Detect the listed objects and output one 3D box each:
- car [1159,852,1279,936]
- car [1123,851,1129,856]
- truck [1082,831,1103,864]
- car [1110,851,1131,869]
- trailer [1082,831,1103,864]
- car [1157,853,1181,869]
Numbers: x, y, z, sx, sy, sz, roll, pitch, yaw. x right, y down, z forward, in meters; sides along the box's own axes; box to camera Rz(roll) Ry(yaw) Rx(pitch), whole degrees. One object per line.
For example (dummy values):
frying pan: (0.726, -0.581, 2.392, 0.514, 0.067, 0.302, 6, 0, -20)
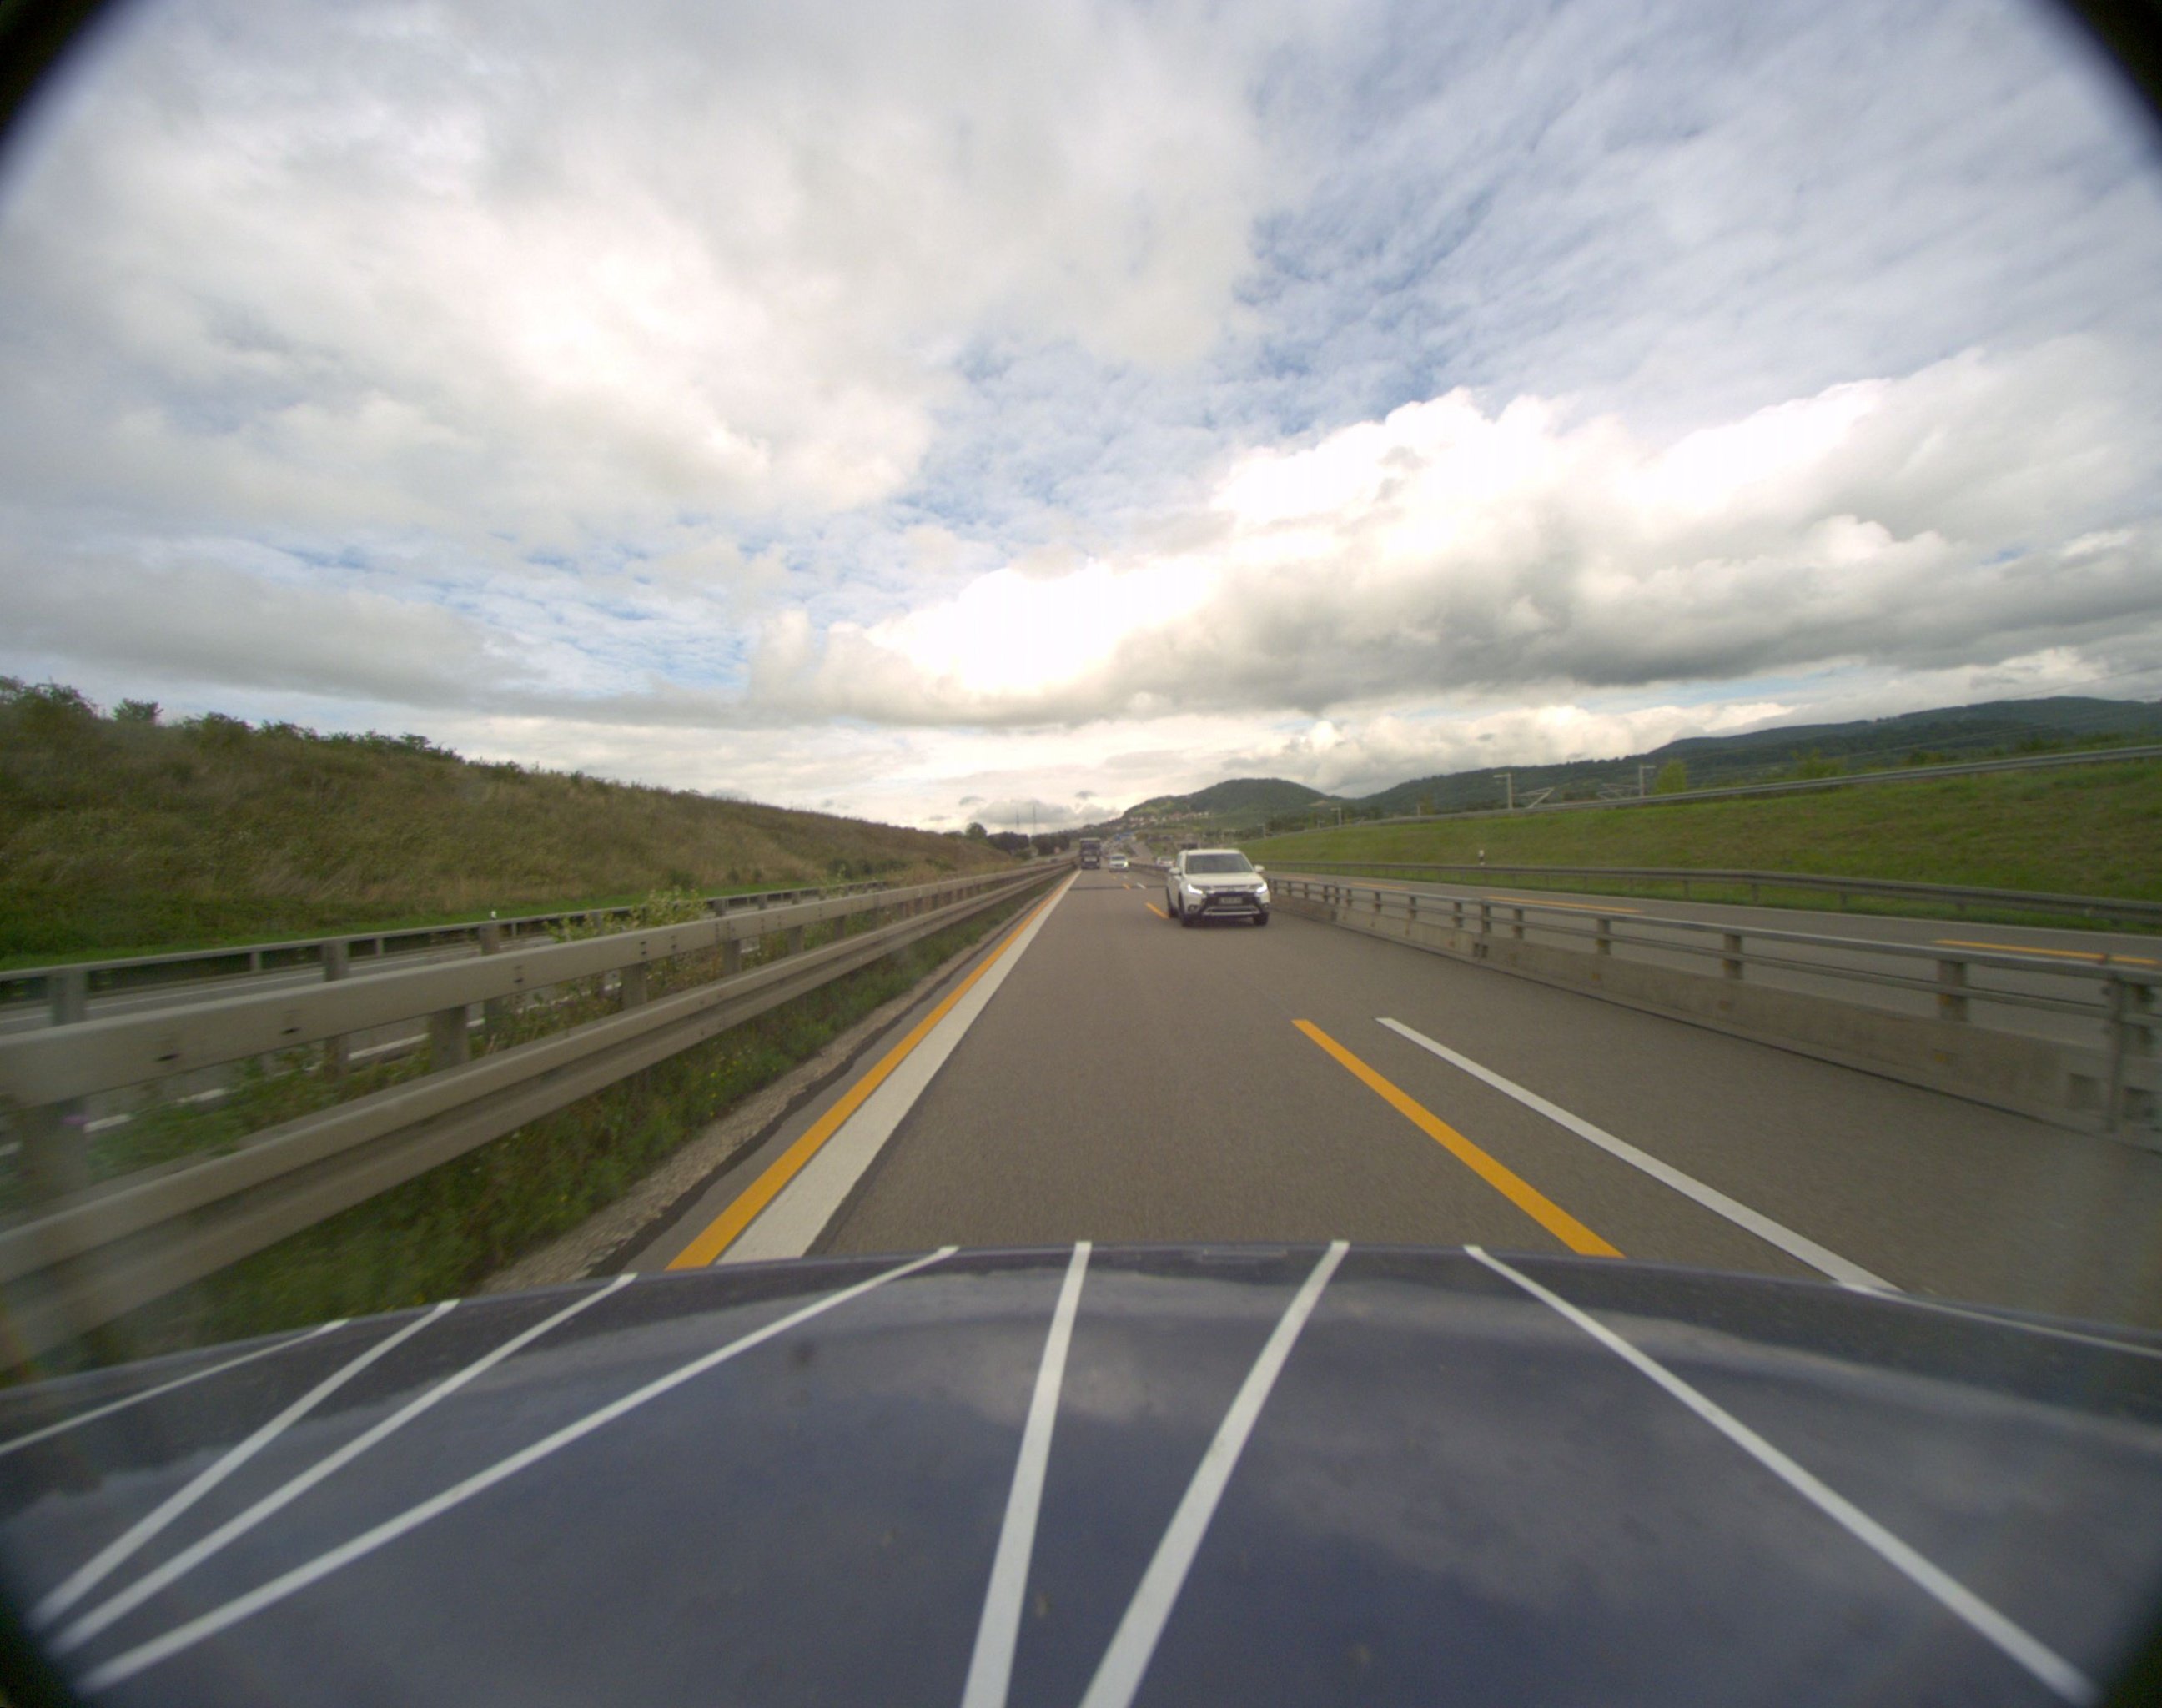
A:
car: (2.964, 0.785, 17.290, 1.998, 1.618, 4.607, -2, 0, 2)
car: (14.952, -0.040, 253.803, 1.792, 1.507, 4.135, -2, 1, 1)
truck: (1.500, -0.825, 97.125, 2.521, 4.081, 5.685, -2, 1, 2)
car: (4.066, 0.598, 78.943, 1.990, 1.787, 4.586, -2, 0, 1)
trailer: (1.640, -0.875, 102.246, 2.521, 4.081, 11.113, -2, 0, 2)
car: (8.016, 0.610, 69.412, 1.761, 1.380, 4.000, -2, 0, 2)
